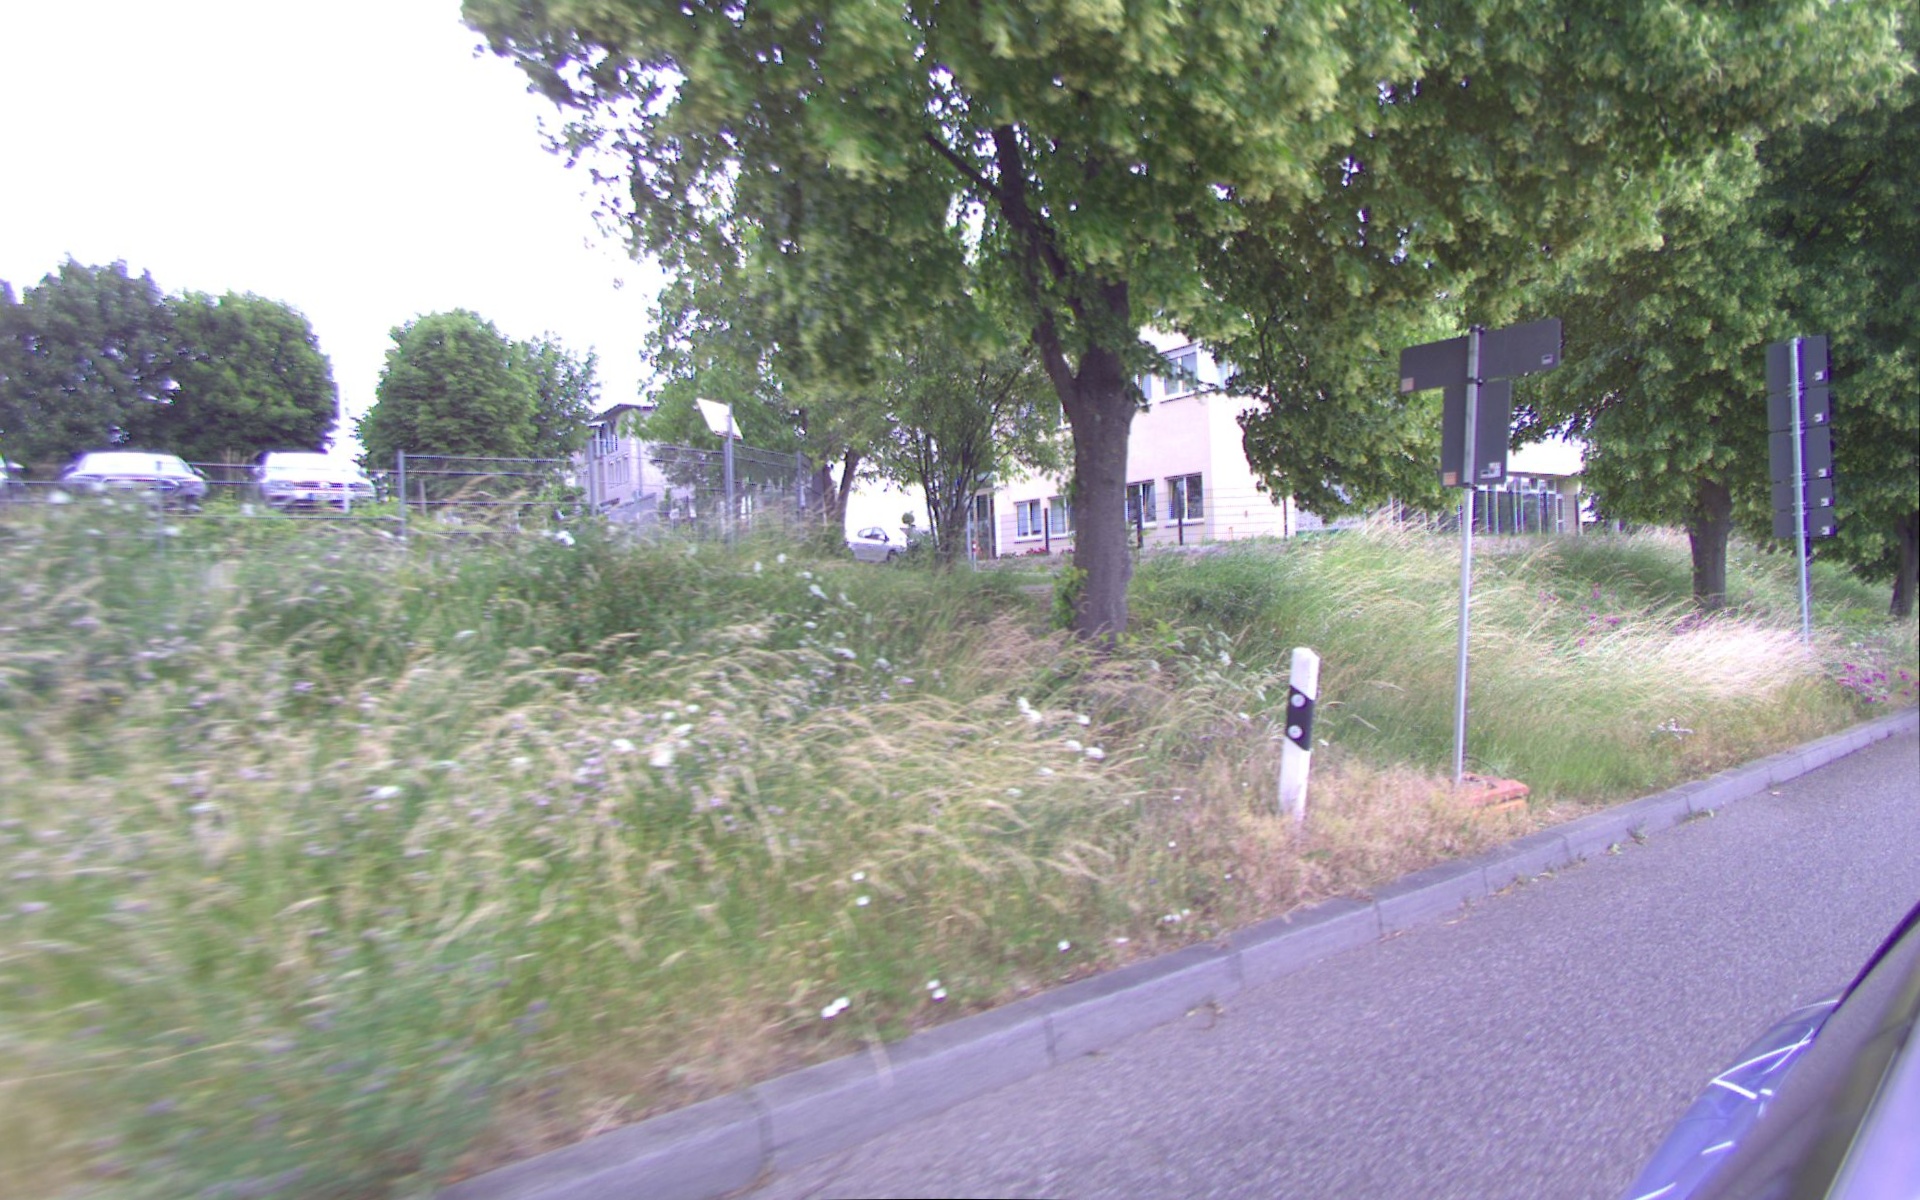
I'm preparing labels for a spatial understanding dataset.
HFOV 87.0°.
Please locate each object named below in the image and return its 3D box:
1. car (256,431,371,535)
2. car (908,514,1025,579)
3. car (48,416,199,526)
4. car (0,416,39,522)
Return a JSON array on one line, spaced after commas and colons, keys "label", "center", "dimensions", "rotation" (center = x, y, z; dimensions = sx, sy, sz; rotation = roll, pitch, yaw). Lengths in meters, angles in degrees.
[{"label": "car", "center": [-12.731, -2.181, 19.838], "dimensions": [1.722, 1.501, 3.938], "rotation": [0, -1, -35]}, {"label": "car", "center": [0.118, -1.373, 27.112], "dimensions": [1.546, 1.529, 3.371], "rotation": [0, 0, -32]}, {"label": "car", "center": [-14.460, -2.137, 17.686], "dimensions": [1.722, 1.385, 3.938], "rotation": [0, 0, -35]}, {"label": "car", "center": [-16.349, -2.113, 16.350], "dimensions": [1.722, 1.381, 3.766], "rotation": [0, 0, -35]}]
